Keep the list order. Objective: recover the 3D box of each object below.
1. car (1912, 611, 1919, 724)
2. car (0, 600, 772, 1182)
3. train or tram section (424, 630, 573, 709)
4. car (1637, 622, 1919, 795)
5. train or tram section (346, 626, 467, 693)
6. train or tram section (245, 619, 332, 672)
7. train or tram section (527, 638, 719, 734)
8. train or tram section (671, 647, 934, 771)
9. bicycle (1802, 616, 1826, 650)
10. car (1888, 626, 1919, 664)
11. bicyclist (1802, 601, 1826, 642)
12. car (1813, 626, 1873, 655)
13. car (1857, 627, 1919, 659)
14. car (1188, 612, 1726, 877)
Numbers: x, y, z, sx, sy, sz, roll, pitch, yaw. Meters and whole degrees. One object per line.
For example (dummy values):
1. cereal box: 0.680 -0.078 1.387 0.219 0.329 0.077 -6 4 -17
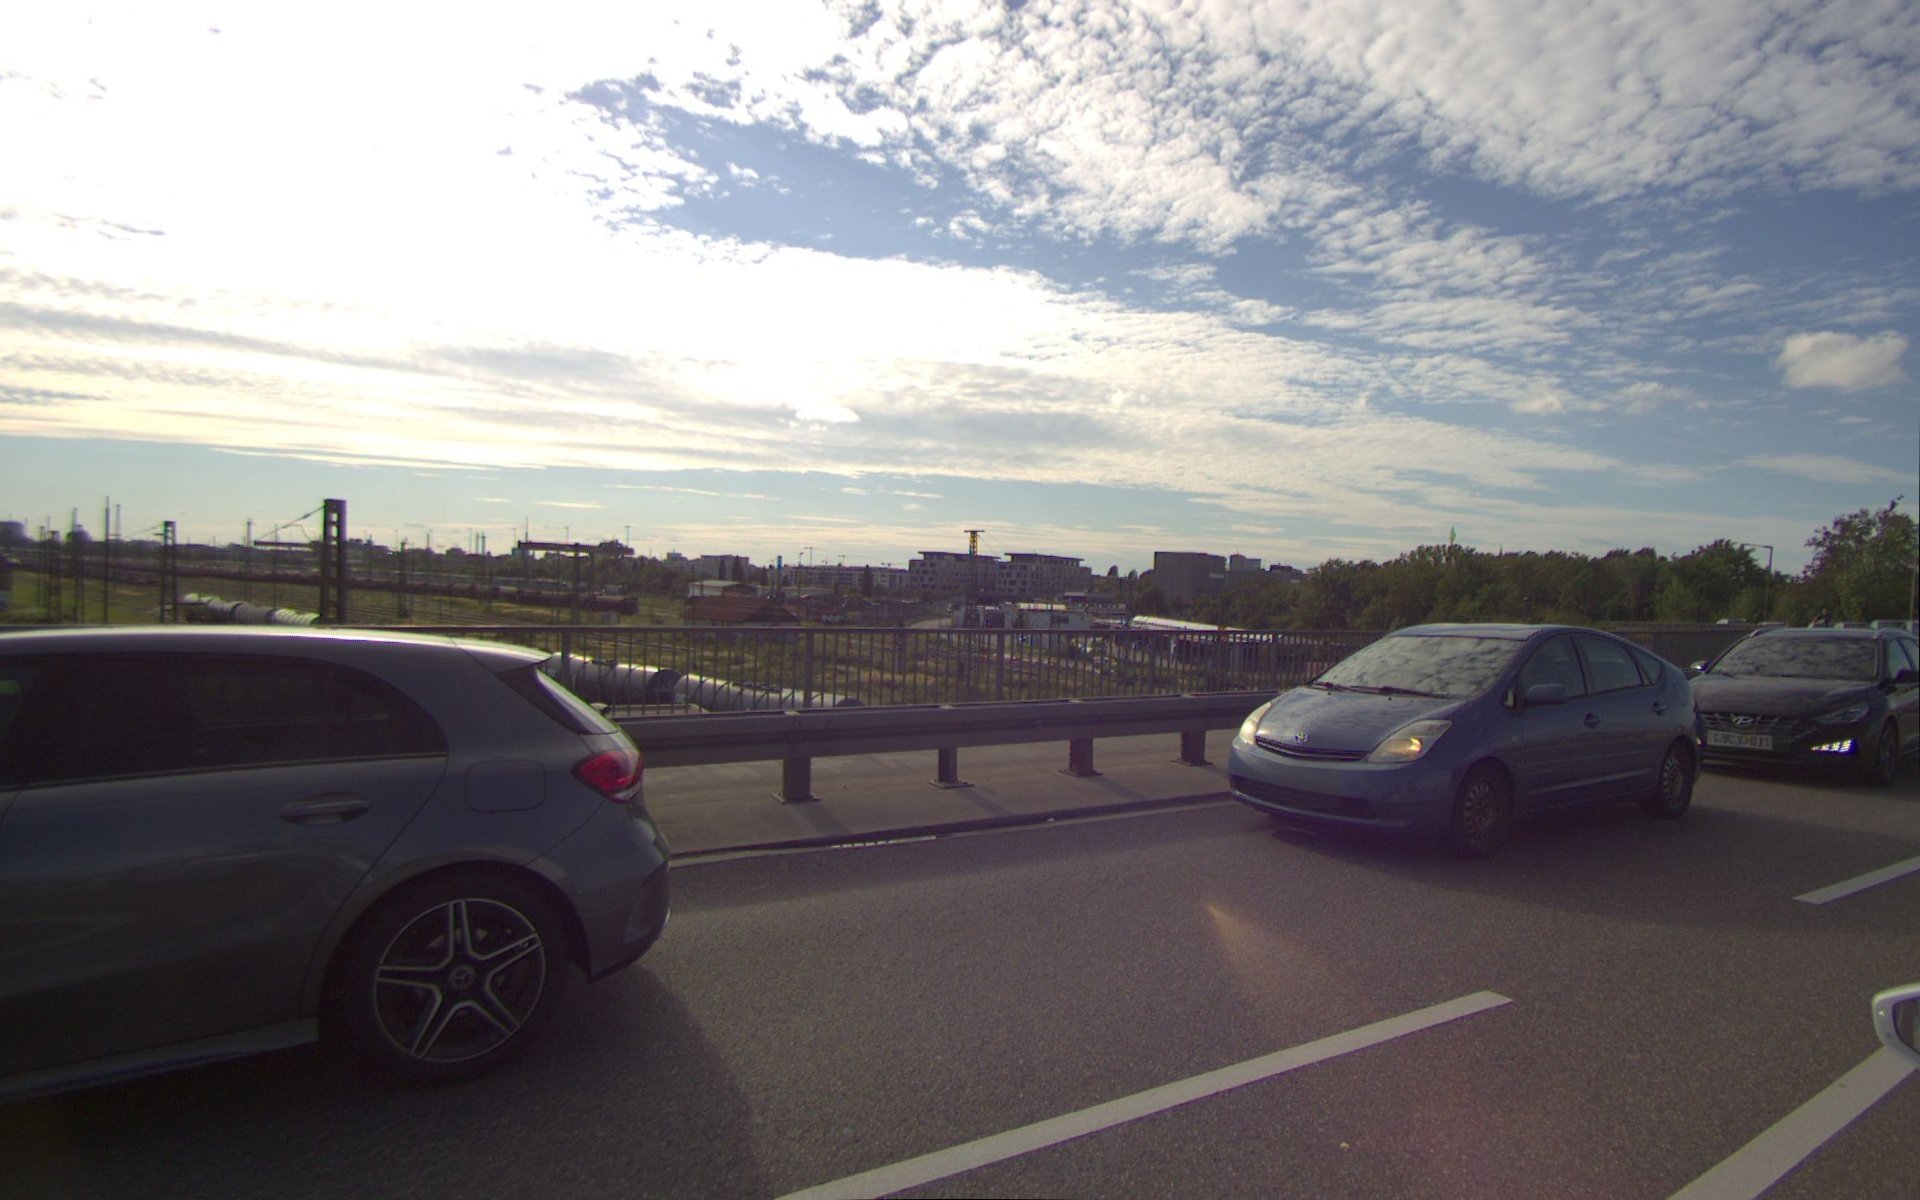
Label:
1. car: 16.806 1.051 15.959 4.824 1.694 1.815 1 -1 -39
2. car: -2.959 0.744 3.286 4.273 1.476 1.805 1 -1 -30
3. train or tram section: -33.396 4.745 71.995 16.500 4.775 3.082 0 -1 41
4. car: 9.237 1.005 10.894 4.401 1.509 1.748 1 -1 -36
5. train or tram section: -45.841 4.681 82.738 16.500 4.775 3.082 0 -1 41
6. train or tram section: -69.049 4.525 103.031 16.500 4.775 3.082 0 -1 41
7. train or tram section: -20.934 4.929 61.207 16.500 4.775 3.082 0 -1 41
8. train or tram section: -8.466 5.062 50.400 16.500 4.775 3.082 0 -1 41
9. bicycle: 35.899 1.378 42.209 0.755 1.349 1.906 0 -1 41
10. car: 41.571 1.925 43.320 1.717 1.521 4.064 0 -1 35
11. bicyclist: 35.926 0.913 42.246 0.757 1.682 1.115 0 -1 41
12. car: 50.413 2.284 57.412 1.714 1.521 4.071 0 -1 28
13. car: 46.434 2.111 50.215 1.716 1.521 4.067 0 -1 32
14. car: 3.923 0.866 7.677 4.344 1.509 1.749 1 -1 -33
